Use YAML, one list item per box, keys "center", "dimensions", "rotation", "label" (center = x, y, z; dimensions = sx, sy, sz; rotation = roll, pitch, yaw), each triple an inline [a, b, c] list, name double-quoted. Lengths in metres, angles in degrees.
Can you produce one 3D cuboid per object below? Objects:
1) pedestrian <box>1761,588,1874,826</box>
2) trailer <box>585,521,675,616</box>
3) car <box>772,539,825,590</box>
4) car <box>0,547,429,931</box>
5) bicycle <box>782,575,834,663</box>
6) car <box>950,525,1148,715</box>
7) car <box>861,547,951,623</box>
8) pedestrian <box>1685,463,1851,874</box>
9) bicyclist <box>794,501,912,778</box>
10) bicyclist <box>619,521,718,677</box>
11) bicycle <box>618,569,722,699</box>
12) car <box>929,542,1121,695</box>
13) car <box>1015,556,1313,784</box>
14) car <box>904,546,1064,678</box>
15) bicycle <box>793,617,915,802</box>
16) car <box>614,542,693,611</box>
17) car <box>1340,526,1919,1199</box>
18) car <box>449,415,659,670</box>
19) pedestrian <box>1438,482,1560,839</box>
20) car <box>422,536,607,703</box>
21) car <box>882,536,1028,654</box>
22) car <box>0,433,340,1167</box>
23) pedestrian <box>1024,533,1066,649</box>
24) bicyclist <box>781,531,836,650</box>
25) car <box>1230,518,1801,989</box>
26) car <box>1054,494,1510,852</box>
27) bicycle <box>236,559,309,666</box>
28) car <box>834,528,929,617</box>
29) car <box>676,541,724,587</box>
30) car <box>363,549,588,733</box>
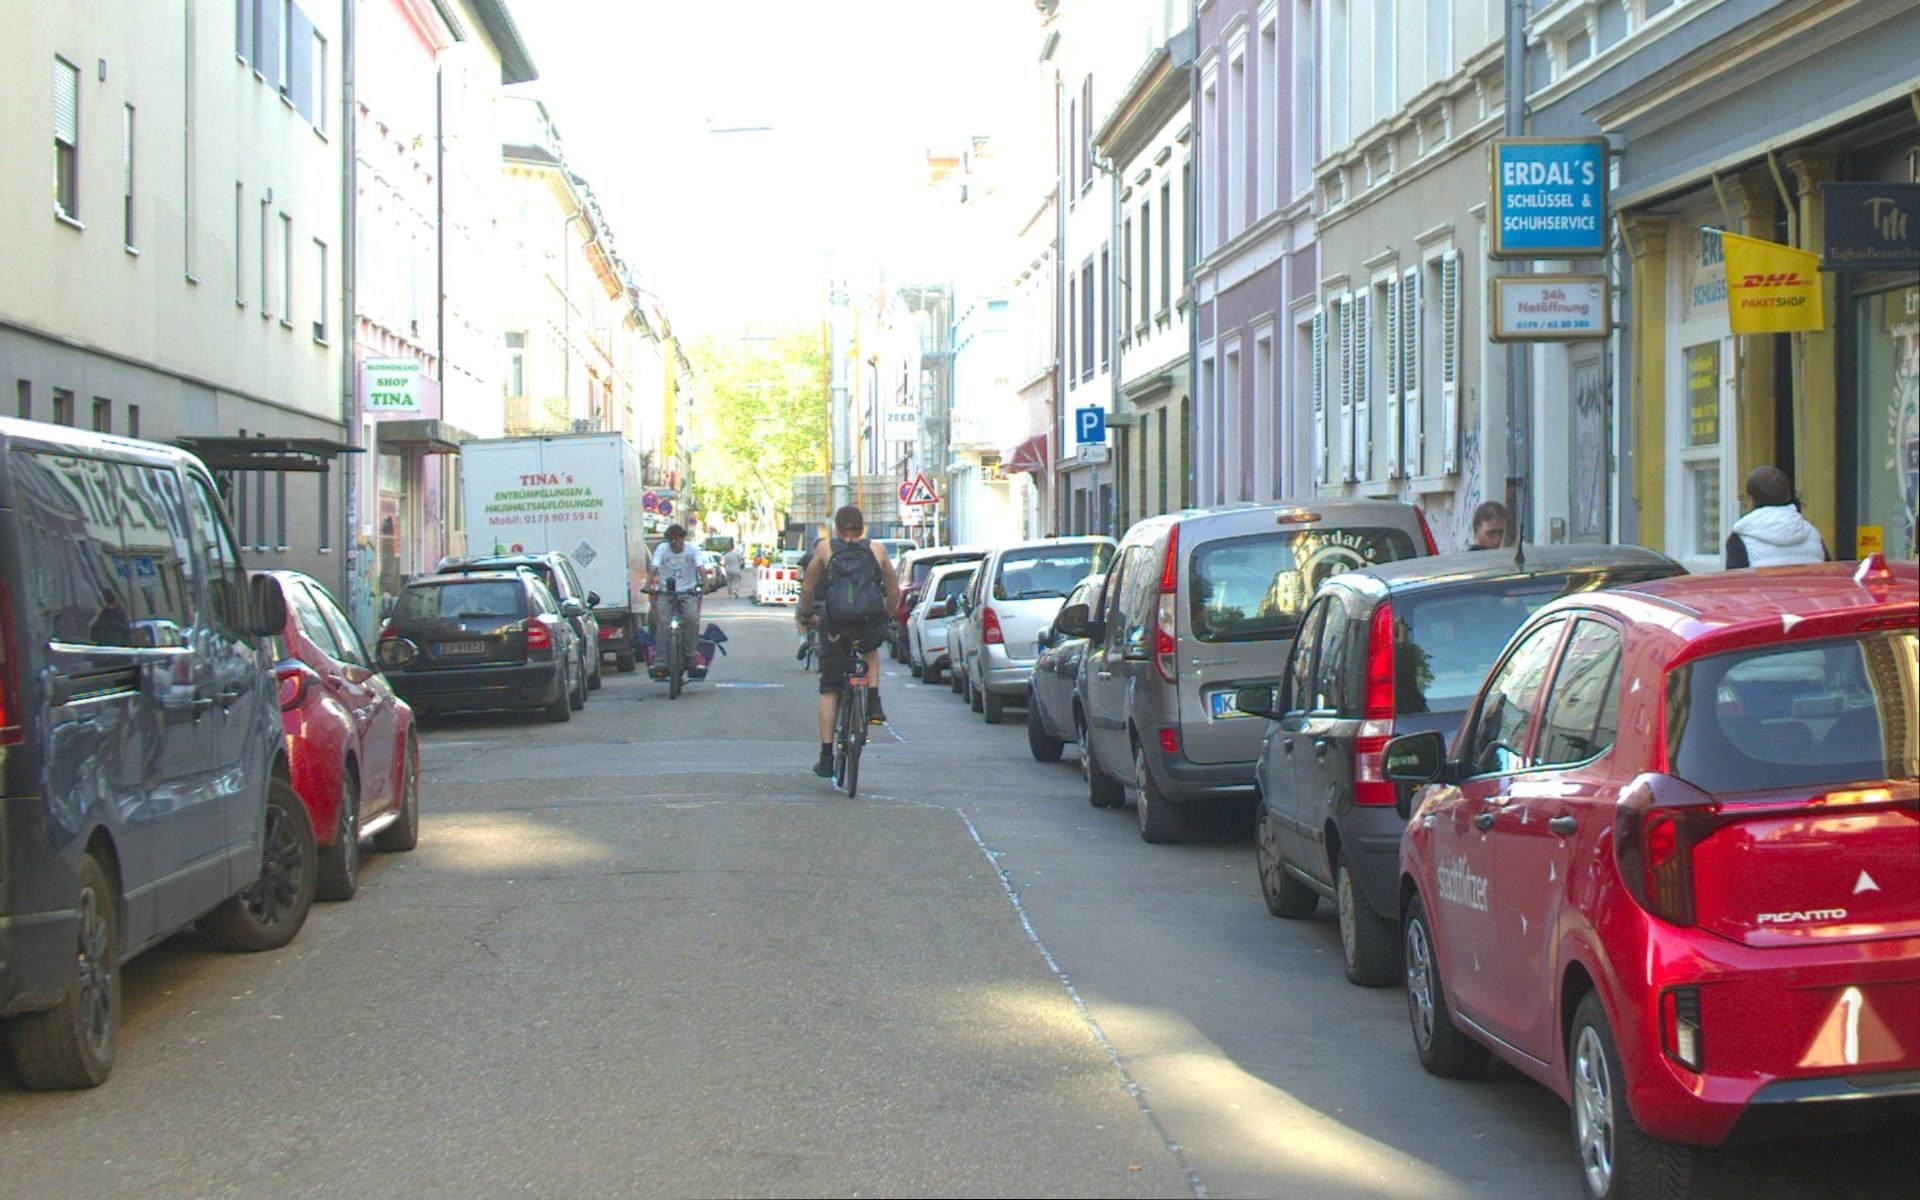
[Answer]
- center: [4.475, 0.552, 17.961]
  dimensions: [0.438, 1.218, 0.514]
  rotation: [1, 0, -1]
  label: "pedestrian"
- center: [-7.502, -0.718, 78.458]
  dimensions: [1.881, 2.085, 3.738]
  rotation: [-1, 0, -3]
  label: "trailer"
- center: [-5.130, -1.112, 108.887]
  dimensions: [1.611, 1.555, 3.611]
  rotation: [1, 0, -4]
  label: "car"
- center: [-3.624, 0.577, 16.237]
  dimensions: [1.750, 1.517, 3.869]
  rotation: [-3, 0, -3]
  label: "car"
- center: [-2.030, 0.241, 45.772]
  dimensions: [0.648, 1.126, 2.136]
  rotation: [1, 0, -4]
  label: "bicycle"
- center: [0.800, 0.171, 32.962]
  dimensions: [1.556, 1.706, 3.559]
  rotation: [1, 0, -4]
  label: "car"
- center: [-1.128, -0.315, 70.366]
  dimensions: [1.750, 1.481, 3.800]
  rotation: [-1, 0, -2]
  label: "car"
- center: [3.466, 0.291, 14.765]
  dimensions: [0.561, 1.734, 0.428]
  rotation: [1, 0, -5]
  label: "pedestrian"
- center: [-0.672, 0.235, 21.336]
  dimensions: [0.667, 1.671, 1.097]
  rotation: [1, 0, -4]
  label: "bicyclist"
- center: [-3.129, -0.023, 36.986]
  dimensions: [0.950, 1.622, 0.953]
  rotation: [-2, 1, -2]
  label: "bicyclist"
- center: [-3.117, 0.345, 37.200]
  dimensions: [0.977, 1.310, 2.555]
  rotation: [-2, 1, -2]
  label: "bicycle"
- center: [0.666, 0.177, 38.440]
  dimensions: [1.696, 1.538, 4.629]
  rotation: [-2, 1, -4]
  label: "car"
- center: [1.393, 0.457, 24.740]
  dimensions: [1.552, 1.506, 3.612]
  rotation: [1, 0, -6]
  label: "car"
- center: [0.258, 0.128, 43.635]
  dimensions: [1.686, 1.538, 4.047]
  rotation: [-2, 1, -4]
  label: "car"
- center: [-0.676, 0.656, 21.410]
  dimensions: [0.677, 1.071, 1.942]
  rotation: [1, 0, -4]
  label: "bicycle"
- center: [-7.337, -0.568, 82.596]
  dimensions: [1.750, 1.567, 3.796]
  rotation: [-1, 0, -3]
  label: "car"
- center: [2.112, 0.625, 9.043]
  dimensions: [1.606, 1.567, 3.554]
  rotation: [1, 0, -4]
  label: "car"
- center: [-5.669, -0.785, 48.918]
  dimensions: [2.343, 3.280, 7.155]
  rotation: [-2, 1, -3]
  label: "car"
- center: [2.619, 0.286, 16.733]
  dimensions: [0.441, 1.698, 0.655]
  rotation: [1, 0, -3]
  label: "pedestrian"
- center: [-4.933, 0.165, 38.539]
  dimensions: [1.716, 1.644, 4.246]
  rotation: [-3, 2, -4]
  label: "car"
- center: [-0.121, -0.111, 51.571]
  dimensions: [1.918, 1.700, 4.367]
  rotation: [0, 1, -4]
  label: "car"
- center: [-3.470, 0.442, 11.387]
  dimensions: [2.020, 1.873, 5.297]
  rotation: [1, 1, -2]
  label: "car"
- center: [1.481, -0.159, 59.750]
  dimensions: [0.644, 2.007, 0.764]
  rotation: [1, 0, -3]
  label: "pedestrian"
- center: [-2.020, -0.132, 45.723]
  dimensions: [0.671, 1.562, 0.716]
  rotation: [1, 0, -5]
  label: "bicyclist"
- center: [2.065, 0.521, 13.619]
  dimensions: [1.569, 1.551, 3.314]
  rotation: [-3, 0, -1]
  label: "car"
- center: [1.691, 0.355, 19.538]
  dimensions: [1.899, 1.787, 4.315]
  rotation: [1, 0, -4]
  label: "car"
- center: [-7.800, 0.130, 39.056]
  dimensions: [0.490, 1.160, 1.773]
  rotation: [-2, 1, -2]
  label: "bicycle"
- center: [-1.751, -0.596, 75.403]
  dimensions: [1.750, 1.872, 3.973]
  rotation: [-1, 0, -6]
  label: "car"
- center: [-9.960, -1.379, 131.806]
  dimensions: [1.750, 1.678, 3.796]
  rotation: [-1, 0, -3]
  label: "car"
- center: [-4.516, 0.327, 32.612]
  dimensions: [1.716, 1.473, 4.500]
  rotation: [-3, 2, -4]
  label: "car"
